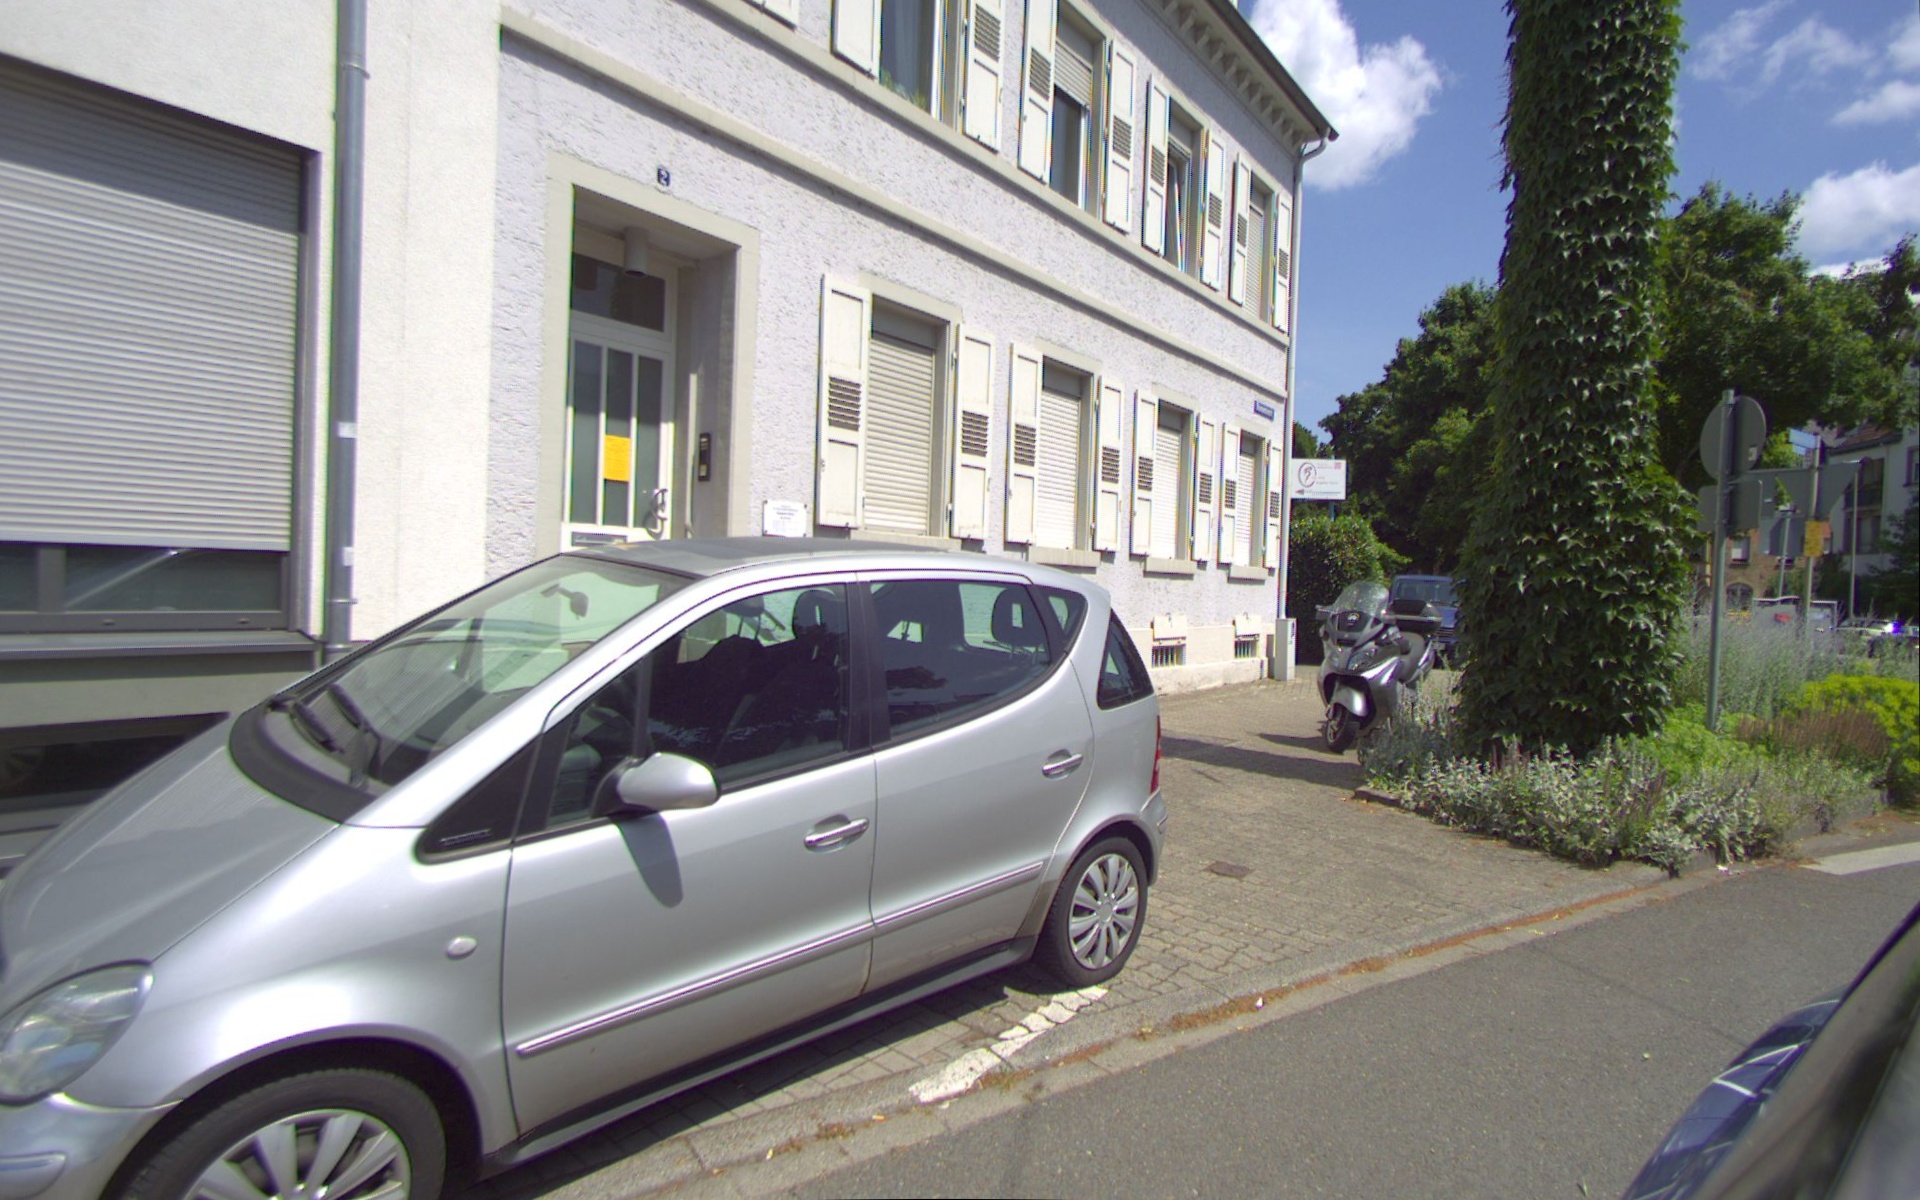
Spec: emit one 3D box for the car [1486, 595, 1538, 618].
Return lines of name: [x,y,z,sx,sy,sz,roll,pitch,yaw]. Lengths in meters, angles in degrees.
car: [43.521,0.470,79.938,1.964,1.638,4.181,1,1,4]

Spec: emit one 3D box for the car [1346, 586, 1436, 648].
car: [12.075,0.419,28.574,1.690,1.545,3.837,3,1,14]

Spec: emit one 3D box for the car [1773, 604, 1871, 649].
car: [36.636,1.092,43.158,1.755,1.533,3.973,8,3,20]

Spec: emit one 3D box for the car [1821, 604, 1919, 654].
car: [34.696,1.070,38.433,1.756,1.533,3.969,8,3,23]

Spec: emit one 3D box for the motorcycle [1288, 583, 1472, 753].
motorcycle: [3.938,0.551,9.366,0.800,1.369,2.302,2,1,43]

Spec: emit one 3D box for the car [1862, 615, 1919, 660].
car: [32.437,1.287,34.068,1.799,1.343,3.969,4,2,23]

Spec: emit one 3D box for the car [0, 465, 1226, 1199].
car: [-0.898,0.520,3.395,3.738,1.630,1.729,-1,5,-44]

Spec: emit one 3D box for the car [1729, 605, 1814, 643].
car: [38.680,1.097,48.347,1.753,1.404,3.976,8,3,19]

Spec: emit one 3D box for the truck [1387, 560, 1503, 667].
truck: [10.416,0.251,22.066,1.895,1.950,5.240,4,1,23]

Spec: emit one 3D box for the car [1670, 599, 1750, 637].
car: [40.006,0.909,54.084,1.748,1.633,3.863,7,3,11]
